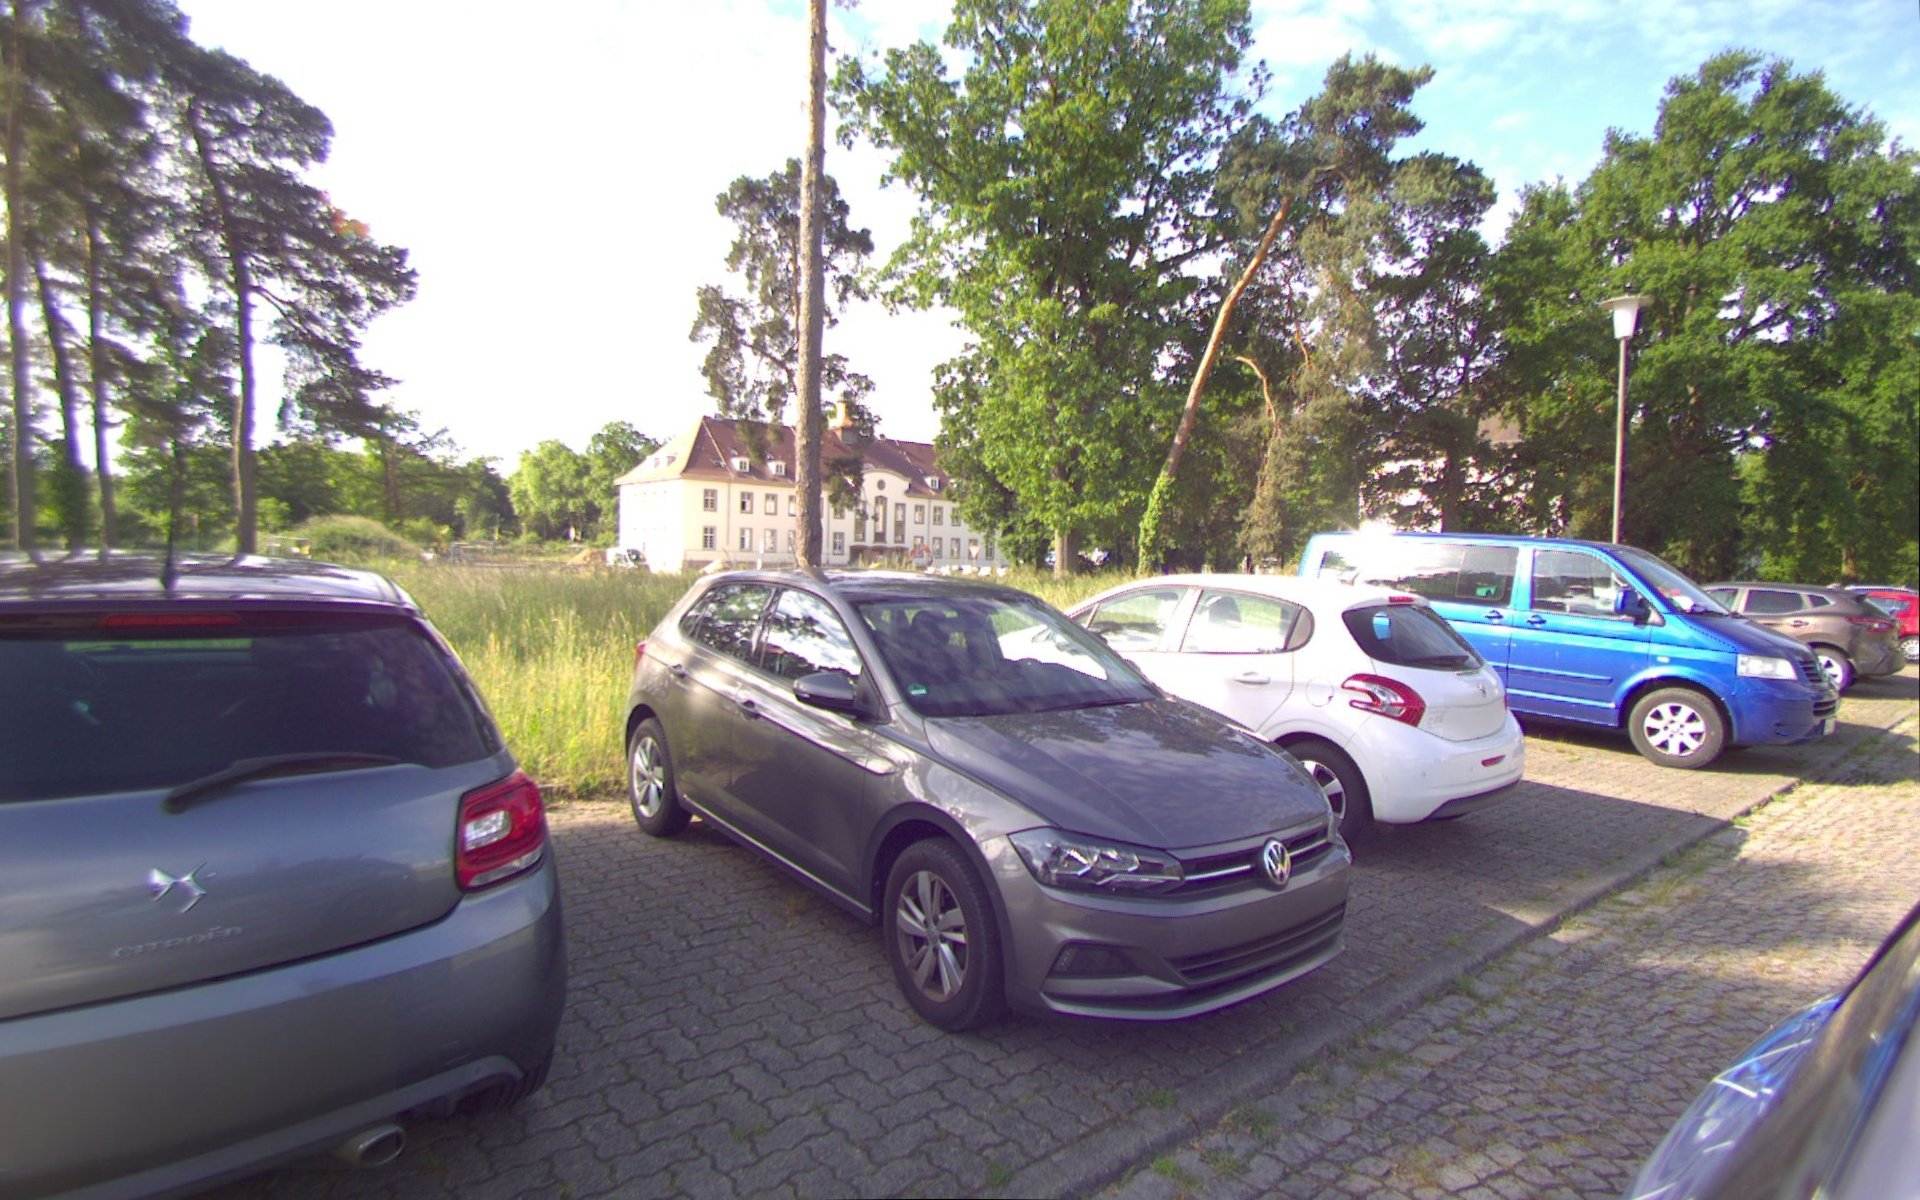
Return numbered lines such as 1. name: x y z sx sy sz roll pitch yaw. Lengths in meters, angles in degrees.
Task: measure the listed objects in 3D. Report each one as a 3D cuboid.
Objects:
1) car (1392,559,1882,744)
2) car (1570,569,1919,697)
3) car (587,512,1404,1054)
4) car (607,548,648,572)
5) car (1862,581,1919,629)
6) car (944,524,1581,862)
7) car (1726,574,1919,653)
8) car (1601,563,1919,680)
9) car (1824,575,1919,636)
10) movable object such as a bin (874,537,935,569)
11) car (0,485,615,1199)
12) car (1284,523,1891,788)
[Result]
1. car: 7.736 0.419 11.959 1.905 1.596 4.409 0 4 -40
2. car: 12.338 0.387 15.987 1.902 1.617 4.232 -1 4 -42
3. car: -0.189 0.384 4.781 1.823 1.466 3.718 0 4 -39
4. car: -31.665 -3.769 96.351 1.967 2.240 4.423 -1 1 -43
5. car: 31.391 0.259 31.964 1.754 1.440 4.096 0 4 -41
6. car: 1.741 0.344 6.798 1.729 1.553 3.718 1 4 -39
7. car: 19.999 0.286 22.755 1.821 1.477 4.096 0 4 -41
8. car: 14.134 0.267 17.987 1.902 1.617 4.233 -1 5 -42
9. car: 27.762 0.217 29.128 1.821 1.576 4.096 0 4 -41
10. movable object such as a bin: -6.044 -5.126 111.535 6.338 3.342 2.862 0 1 7
11. car: -2.788 0.382 3.501 1.784 1.466 3.717 0 4 -40
12. car: 5.919 0.281 10.123 1.965 1.958 4.710 0 4 -40
